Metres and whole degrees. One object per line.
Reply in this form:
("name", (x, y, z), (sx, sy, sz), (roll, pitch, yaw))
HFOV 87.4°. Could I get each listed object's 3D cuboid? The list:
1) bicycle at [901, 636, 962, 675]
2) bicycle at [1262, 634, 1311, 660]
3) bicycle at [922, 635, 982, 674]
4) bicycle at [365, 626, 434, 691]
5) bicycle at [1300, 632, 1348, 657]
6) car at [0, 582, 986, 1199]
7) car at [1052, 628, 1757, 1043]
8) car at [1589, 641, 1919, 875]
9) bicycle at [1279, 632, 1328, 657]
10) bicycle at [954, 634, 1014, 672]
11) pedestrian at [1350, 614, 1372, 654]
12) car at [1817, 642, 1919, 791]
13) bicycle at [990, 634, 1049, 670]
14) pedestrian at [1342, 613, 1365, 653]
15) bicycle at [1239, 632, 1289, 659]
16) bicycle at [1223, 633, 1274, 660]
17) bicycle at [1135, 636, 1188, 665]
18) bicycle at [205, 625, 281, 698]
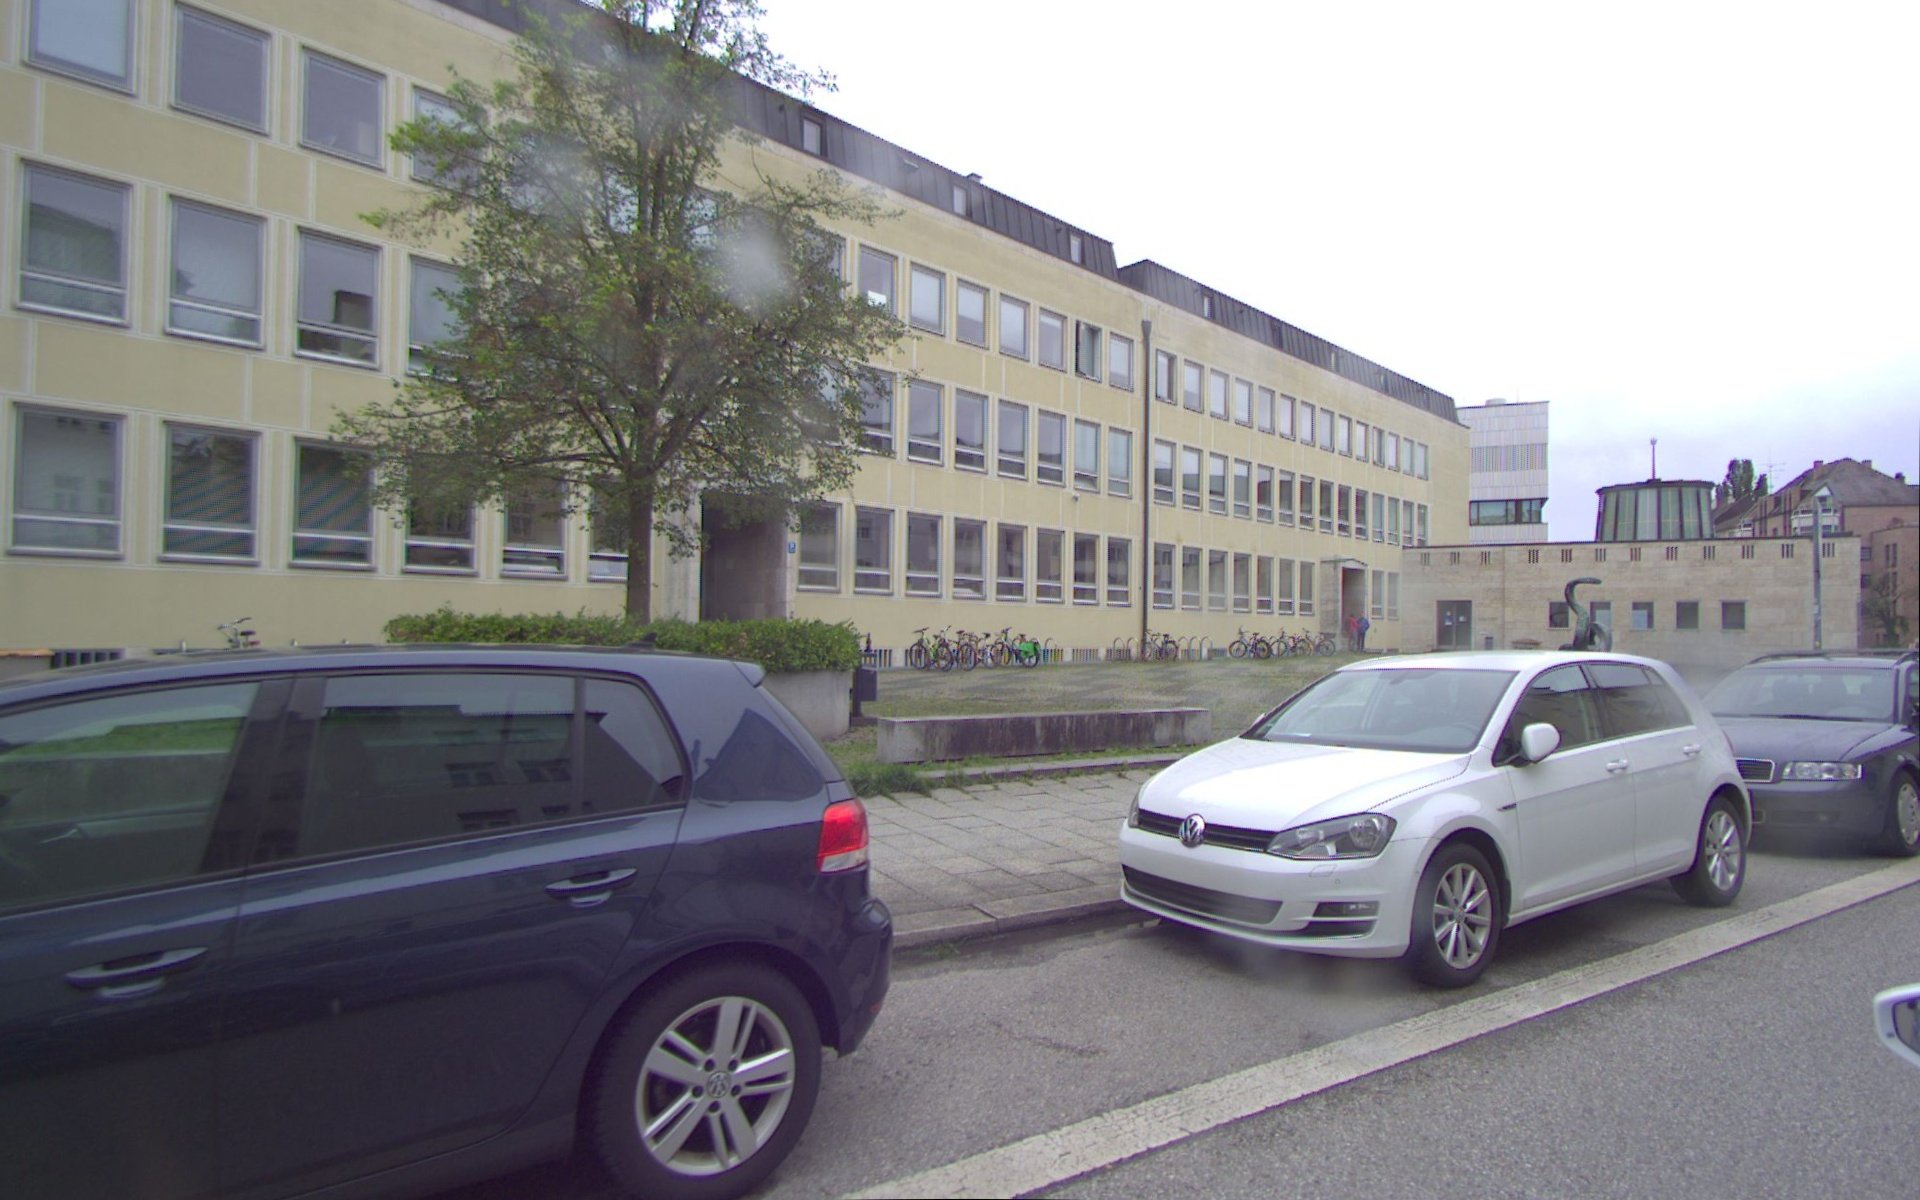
("bicycle", (-0.766, 1.460, 26.656), (0.435, 0.929, 1.882), (2, 0, -45))
("bicycle", (13.363, 1.914, 41.128), (0.435, 0.929, 1.882), (2, 0, -45))
("bicycle", (-0.234, 1.461, 27.206), (0.435, 0.929, 1.882), (2, 0, -45))
("bicycle", (-10.101, 1.020, 18.079), (1.812, 1.042, 0.572), (2, 0, 45))
("bicycle", (15.330, 1.855, 42.300), (0.435, 0.929, 1.882), (2, 0, -45))
("car", (-2.101, 0.758, 2.604), (4.038, 1.566, 1.730), (2, 0, -32))
("car", (2.589, 0.980, 5.592), (3.957, 1.550, 1.712), (2, -3, -33))
("car", (7.185, 1.122, 8.355), (4.160, 1.500, 1.712), (2, -3, -33))
("bicycle", (14.152, 1.839, 41.393), (0.435, 0.929, 1.882), (2, 0, -45))
("bicycle", (0.653, 1.467, 28.161), (0.435, 0.929, 1.882), (2, 0, -45))
("pedestrian", (18.429, 1.550, 46.117), (0.706, 1.767, 0.643), (2, 0, 42))
("car", (11.297, 1.240, 11.147), (3.714, 1.500, 1.712), (2, -3, -33))
("bicycle", (1.706, 1.501, 29.202), (0.435, 0.929, 1.882), (2, 0, -45))
("pedestrian", (17.766, 1.481, 45.358), (0.706, 1.767, 0.643), (2, 0, 42))
("bicycle", (11.904, 1.788, 39.380), (0.528, 0.953, 1.861), (2, 0, -41))
("bicycle", (11.104, 1.800, 38.730), (0.435, 0.929, 1.882), (2, 0, -45))
("bicycle", (7.040, 1.756, 35.149), (0.435, 0.929, 1.882), (2, 0, -45))
("bicycle", (-11.843, 0.976, 16.556), (2.167, 1.042, 0.639), (2, 0, 45))
